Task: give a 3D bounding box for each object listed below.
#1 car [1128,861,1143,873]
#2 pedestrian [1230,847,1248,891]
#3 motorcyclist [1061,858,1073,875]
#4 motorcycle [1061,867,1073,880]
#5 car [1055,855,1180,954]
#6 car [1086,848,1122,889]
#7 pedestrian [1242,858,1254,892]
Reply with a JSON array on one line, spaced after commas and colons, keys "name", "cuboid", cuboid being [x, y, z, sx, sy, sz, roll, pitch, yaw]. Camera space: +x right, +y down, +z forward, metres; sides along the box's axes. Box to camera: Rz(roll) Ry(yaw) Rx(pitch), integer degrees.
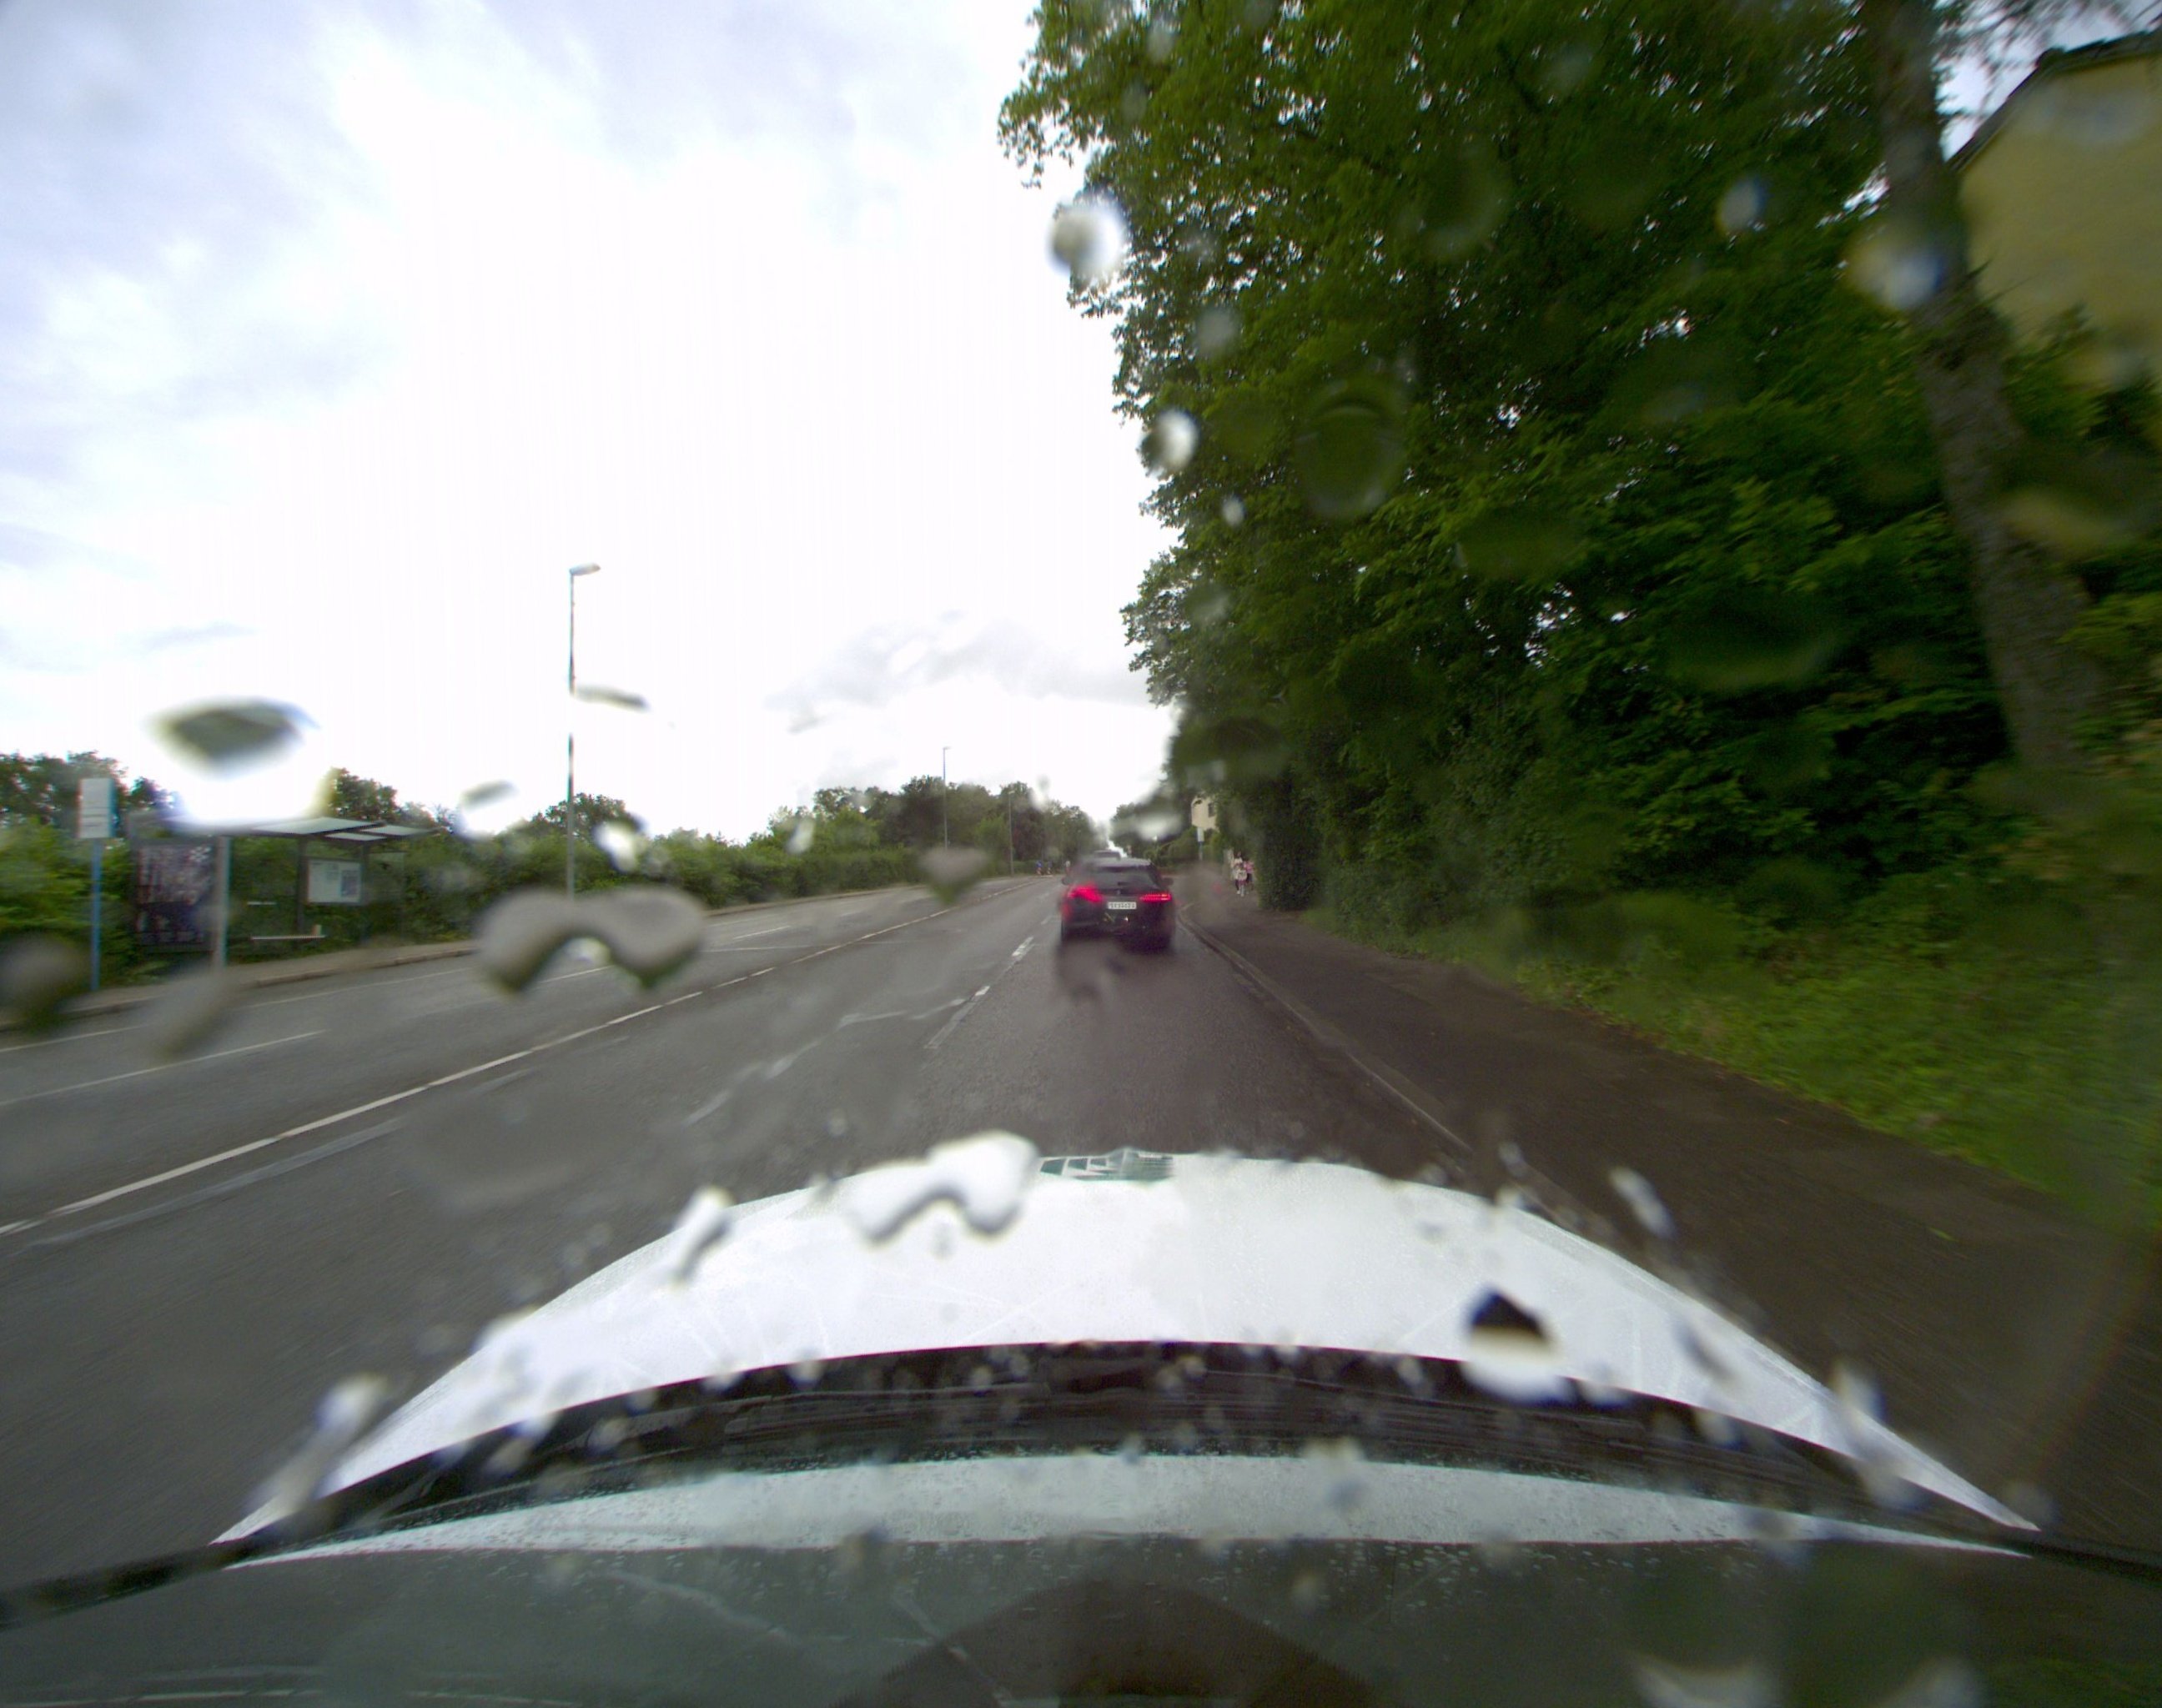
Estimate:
[{"name": "car", "cuboid": [7.207, 1.681, 107.444, 1.927, 1.442, 4.413, -2, -1, 4]}, {"name": "pedestrian", "cuboid": [5.766, 0.546, 29.706, 0.606, 1.593, 0.648, -2, 0, 10]}, {"name": "motorcyclist", "cuboid": [-1.261, 1.118, 74.884, 1.035, 1.568, 0.855, 0, -1, 1]}, {"name": "motorcycle", "cuboid": [-1.279, 1.790, 74.880, 0.872, 1.124, 2.742, 0, -1, 2]}, {"name": "car", "cuboid": [0.661, 0.785, 14.394, 1.889, 1.489, 4.003, 0, -1, 3]}, {"name": "car", "cuboid": [1.140, 0.687, 40.211, 1.623, 1.833, 4.002, -2, 0, 2]}, {"name": "pedestrian", "cuboid": [5.601, 0.703, 27.364, 0.365, 1.146, 0.367, -2, 0, 10]}]
